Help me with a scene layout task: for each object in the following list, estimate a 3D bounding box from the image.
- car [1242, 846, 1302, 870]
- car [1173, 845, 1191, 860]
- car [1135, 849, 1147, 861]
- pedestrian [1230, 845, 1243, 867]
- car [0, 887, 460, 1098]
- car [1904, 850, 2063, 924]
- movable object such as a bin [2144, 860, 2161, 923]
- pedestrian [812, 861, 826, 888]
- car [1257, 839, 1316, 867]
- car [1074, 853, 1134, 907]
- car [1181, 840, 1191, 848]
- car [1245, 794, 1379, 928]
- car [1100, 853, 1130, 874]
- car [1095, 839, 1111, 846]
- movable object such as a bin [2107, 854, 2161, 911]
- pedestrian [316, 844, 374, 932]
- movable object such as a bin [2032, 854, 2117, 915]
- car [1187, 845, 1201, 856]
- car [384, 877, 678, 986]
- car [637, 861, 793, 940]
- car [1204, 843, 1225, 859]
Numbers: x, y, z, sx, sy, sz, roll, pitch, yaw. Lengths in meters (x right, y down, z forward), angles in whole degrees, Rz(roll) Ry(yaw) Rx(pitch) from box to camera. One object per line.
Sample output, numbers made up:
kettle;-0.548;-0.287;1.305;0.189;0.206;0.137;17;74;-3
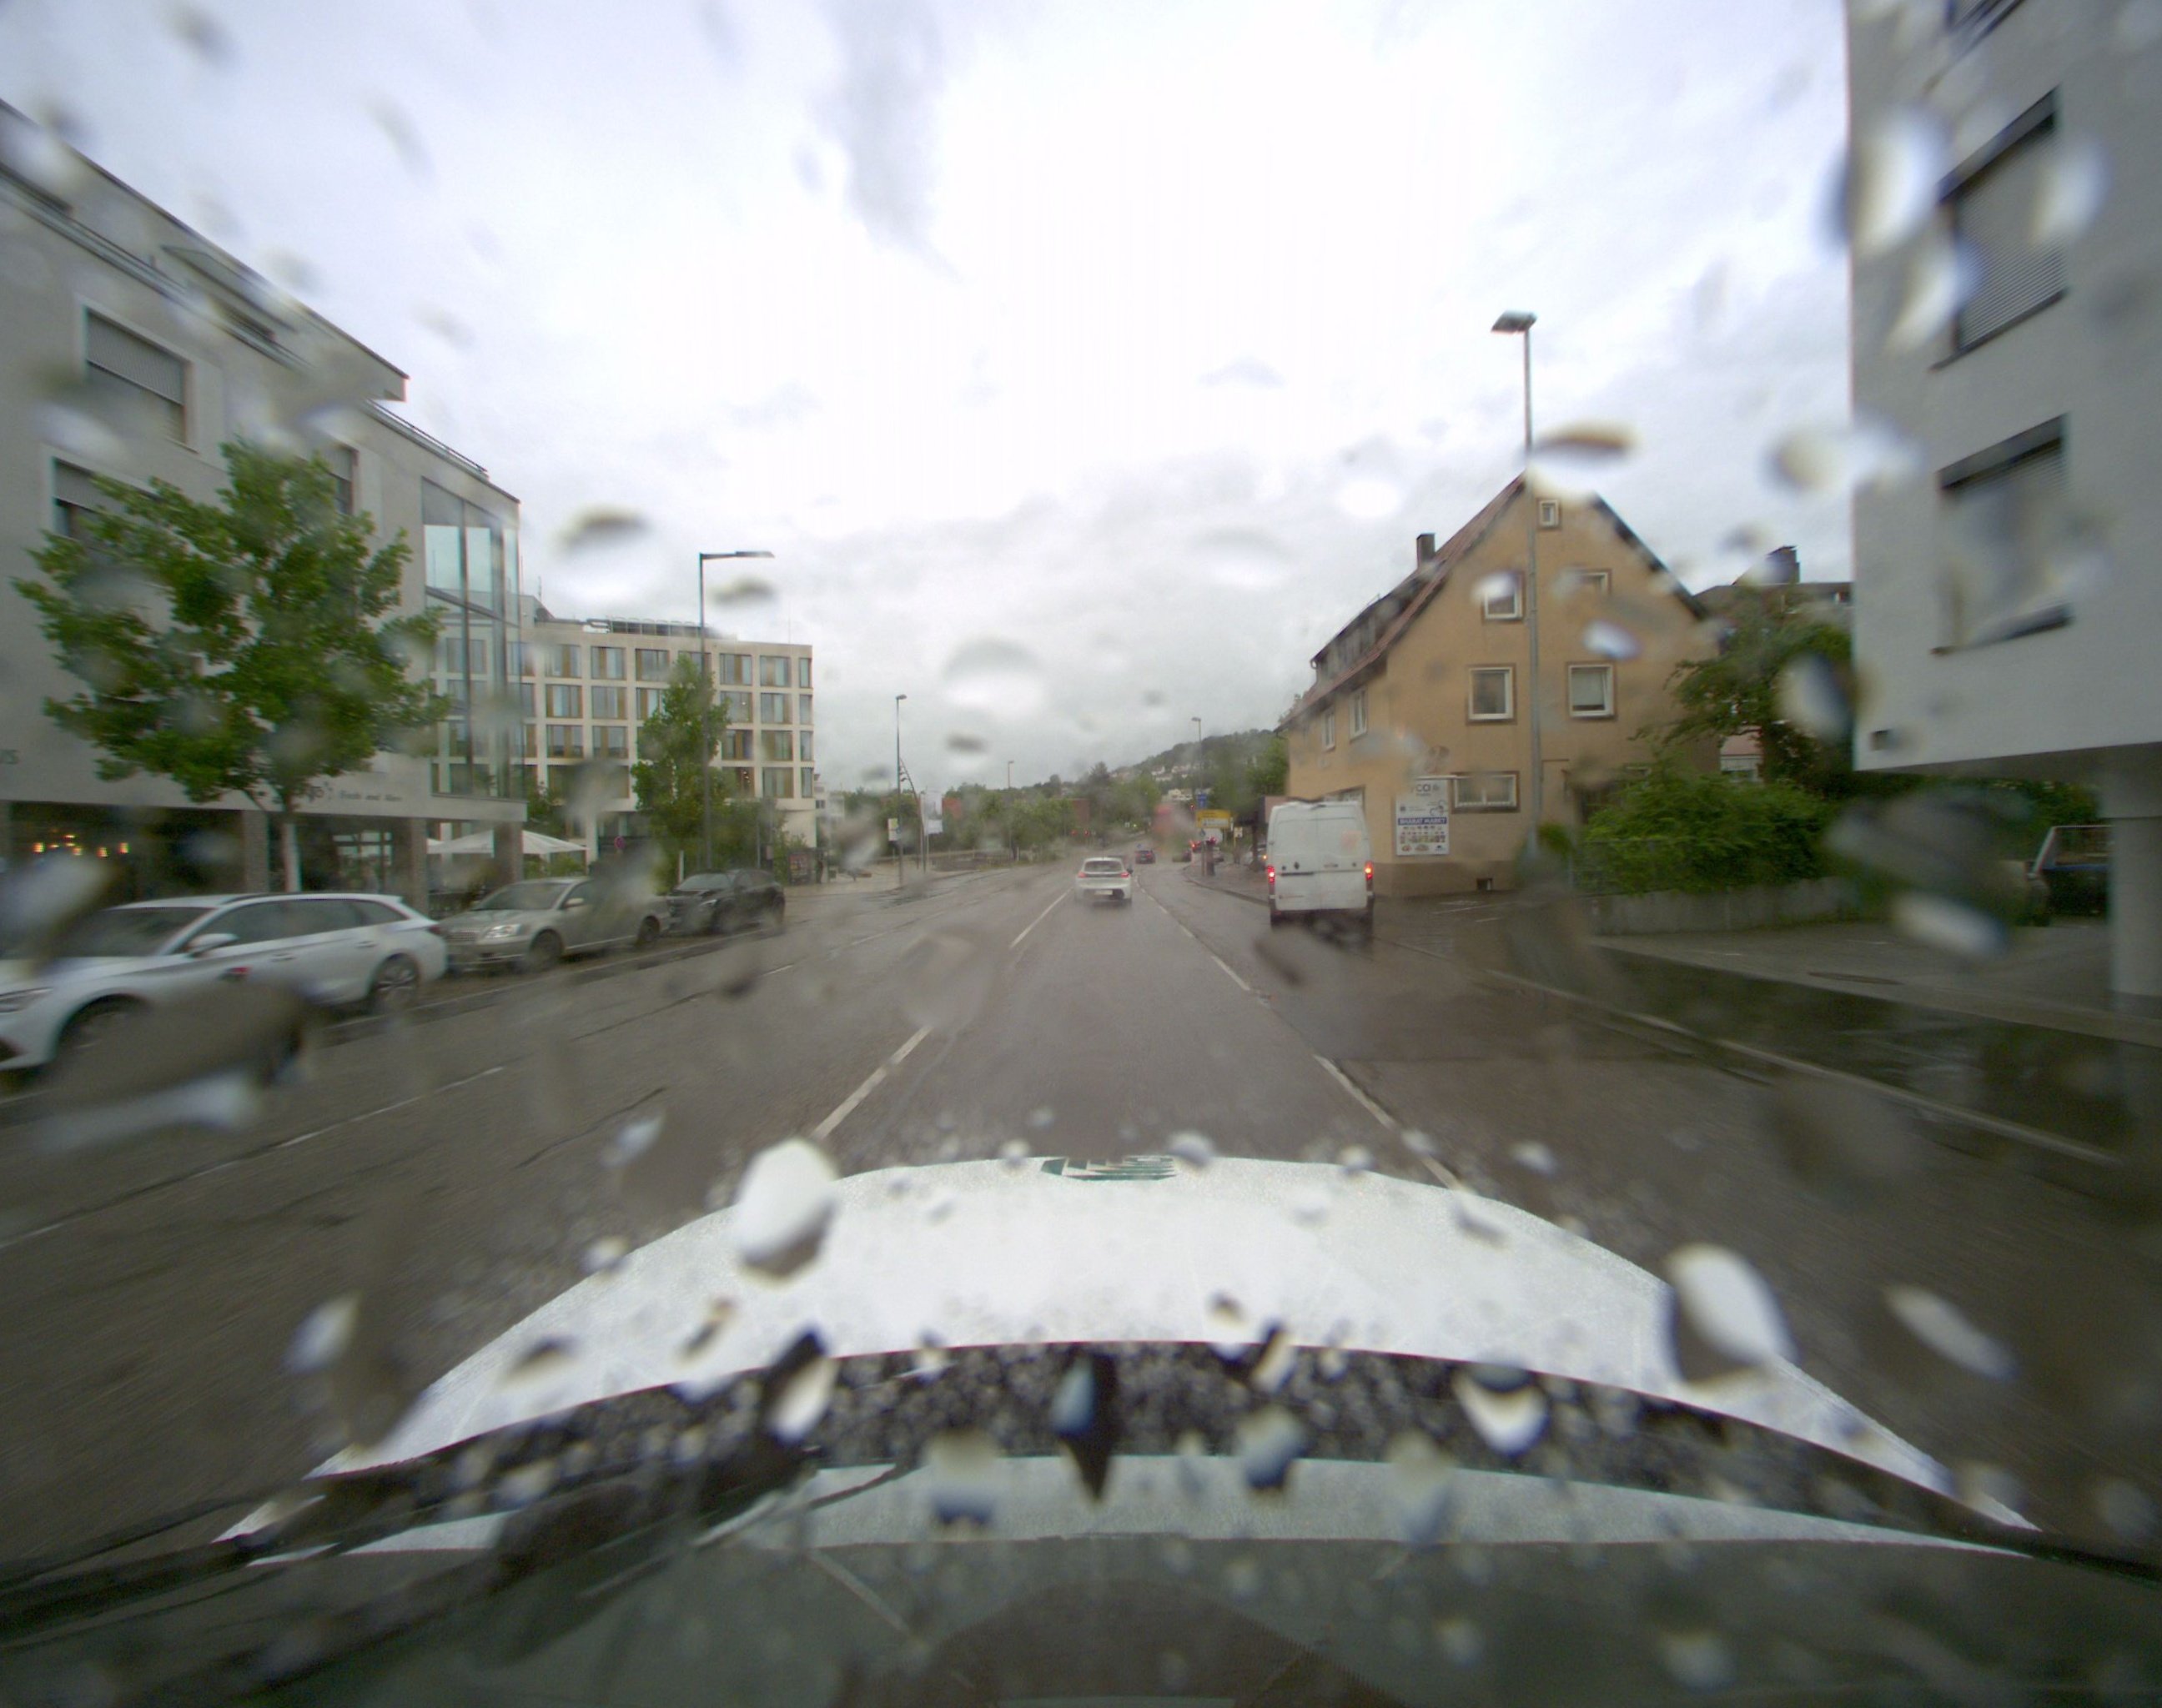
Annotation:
car;13.467;0.274;57.608;3.966;1.447;1.750;-2;0;7
car;11.115;-0.168;89.928;1.726;1.387;3.357;0;3;4
car;6.211;0.101;84.523;1.207;1.156;2.272;-2;-2;4
pedestrian;13.013;0.168;68.189;0.711;1.821;0.790;-1;-2;-24
car;-8.744;1.118;8.032;1.789;1.463;4.477;-1;-2;0
car;21.250;0.799;19.151;4.013;1.537;1.815;4;-1;-32
movable object such as a bin;25.850;0.887;18.923;1.644;1.412;1.057;-1;3;-27
pedestrian;-17.316;1.331;53.879;0.783;1.745;0.671;-2;-2;-13
car;15.416;-0.084;61.202;4.073;1.871;1.880;-2;0;7
car;0.704;0.805;25.467;1.685;1.519;3.933;-2;-2;1
car;17.237;-1.643;133.800;1.379;1.126;2.612;-2;-2;3
car;5.204;0.201;18.188;2.273;2.382;6.654;-3;-2;17
car;2.329;0.630;55.094;1.732;1.296;3.340;-2;-1;6
car;3.948;-2.053;145.742;2.430;1.157;1.359;-1;-1;-25
movable object such as a bin;27.135;0.707;20.507;1.086;1.379;1.406;-1;-2;-29
pedestrian;-18.441;0.847;20.425;0.768;2.145;0.747;-1;-2;-10
movable object such as a bin;26.396;0.790;21.645;1.510;1.524;1.156;-1;-2;-30
car;16.689;-0.553;120.046;1.642;1.485;3.366;-2;-2;1
car;-9.103;1.185;14.065;1.683;1.510;4.582;-2;-2;4
car;-8.664;1.022;19.731;1.581;1.582;4.472;-2;0;2
car;14.030;-0.320;85.562;1.718;1.497;4.498;-3;1;14
